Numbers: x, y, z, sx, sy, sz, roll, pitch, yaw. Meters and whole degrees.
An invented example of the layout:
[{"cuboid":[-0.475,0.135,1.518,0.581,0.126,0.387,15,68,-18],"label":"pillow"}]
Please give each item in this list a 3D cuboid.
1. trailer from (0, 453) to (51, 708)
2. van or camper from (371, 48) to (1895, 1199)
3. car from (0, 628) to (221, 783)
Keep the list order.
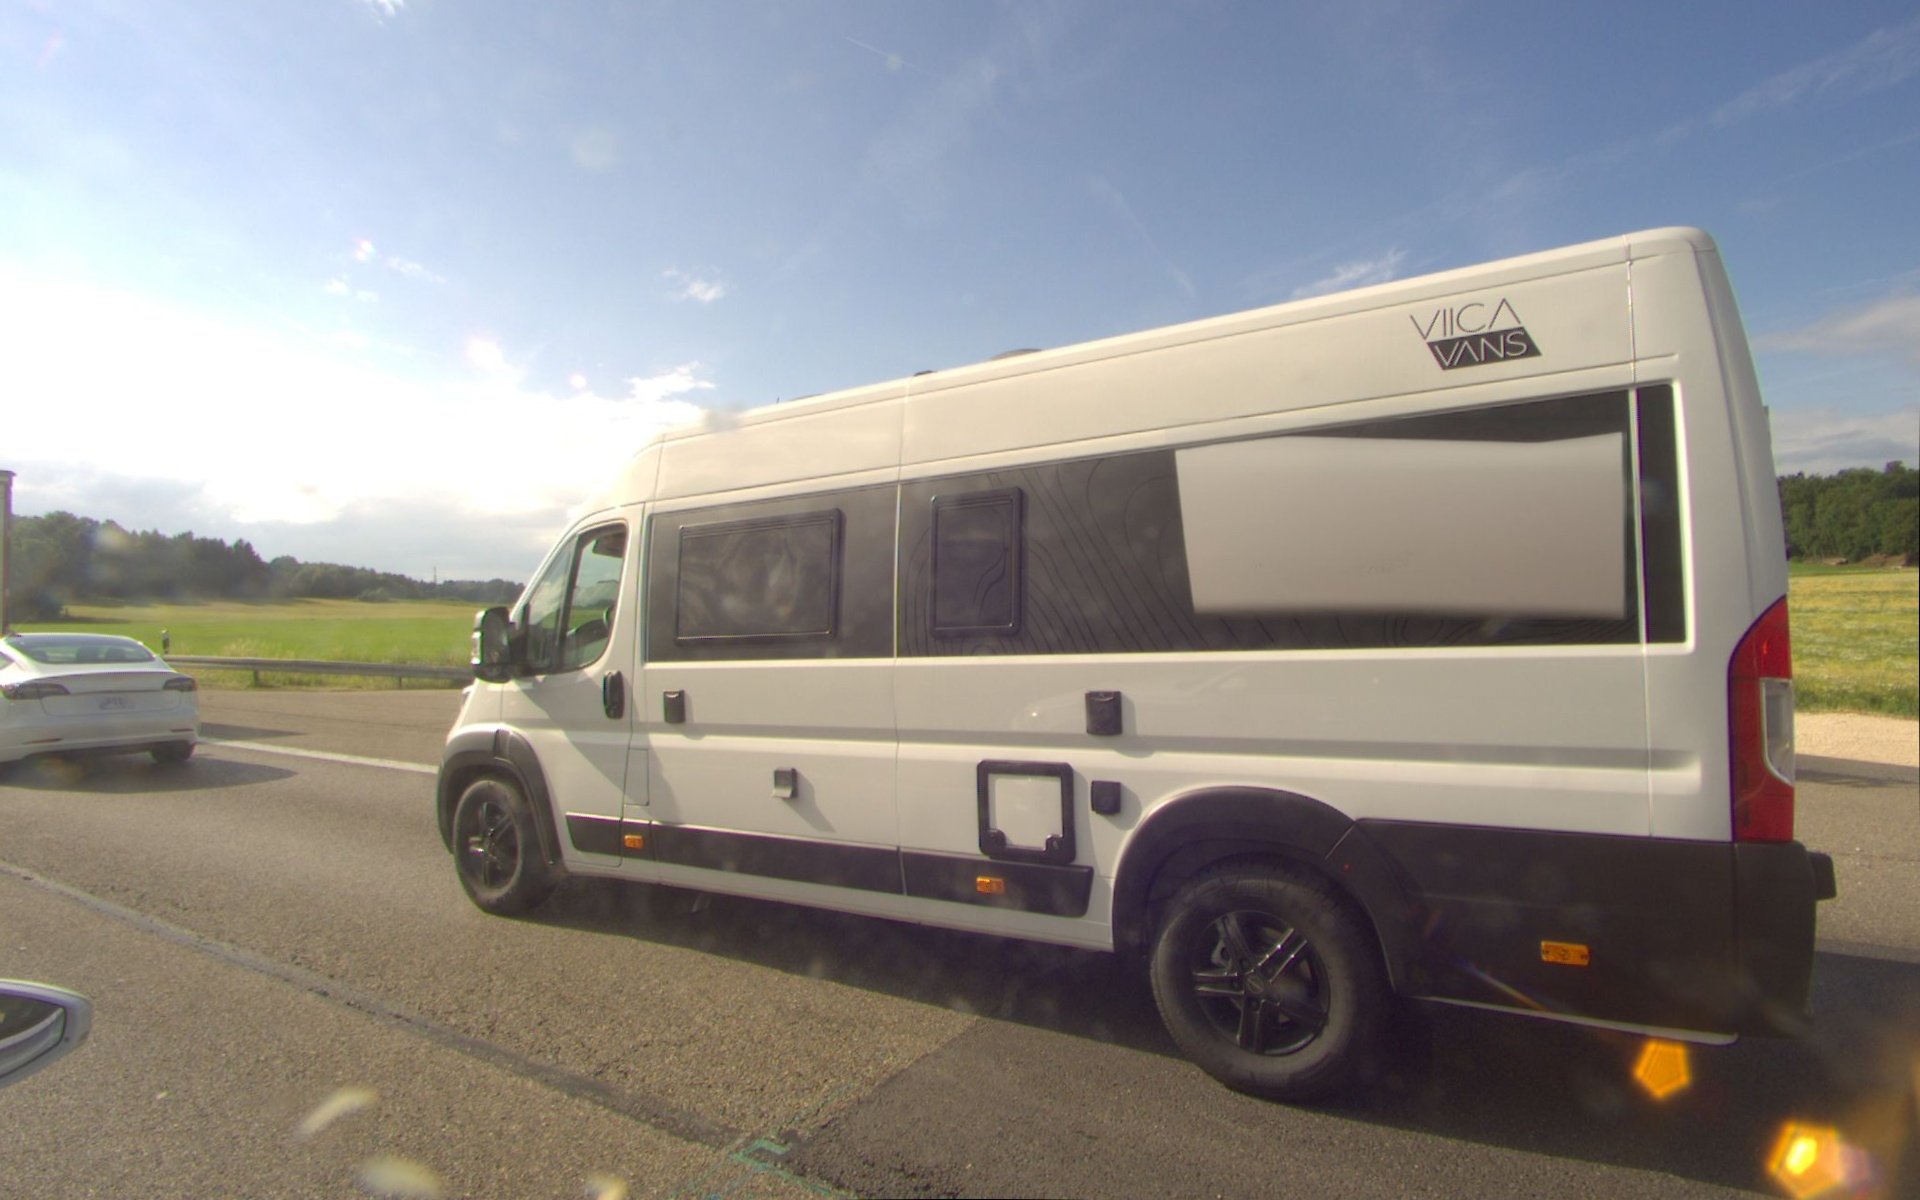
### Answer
[{"cuboid":[-21.335,-0.127,18.763,13.181,4.061,3.125,-2,-2,33],"label":"trailer"},{"cuboid":[-0.022,0.206,4.814,6.241,2.716,2.211,-1,-1,32],"label":"van or camper"},{"cuboid":[-10.309,1.028,11.152,4.371,1.412,1.786,-1,-1,30],"label":"car"}]
